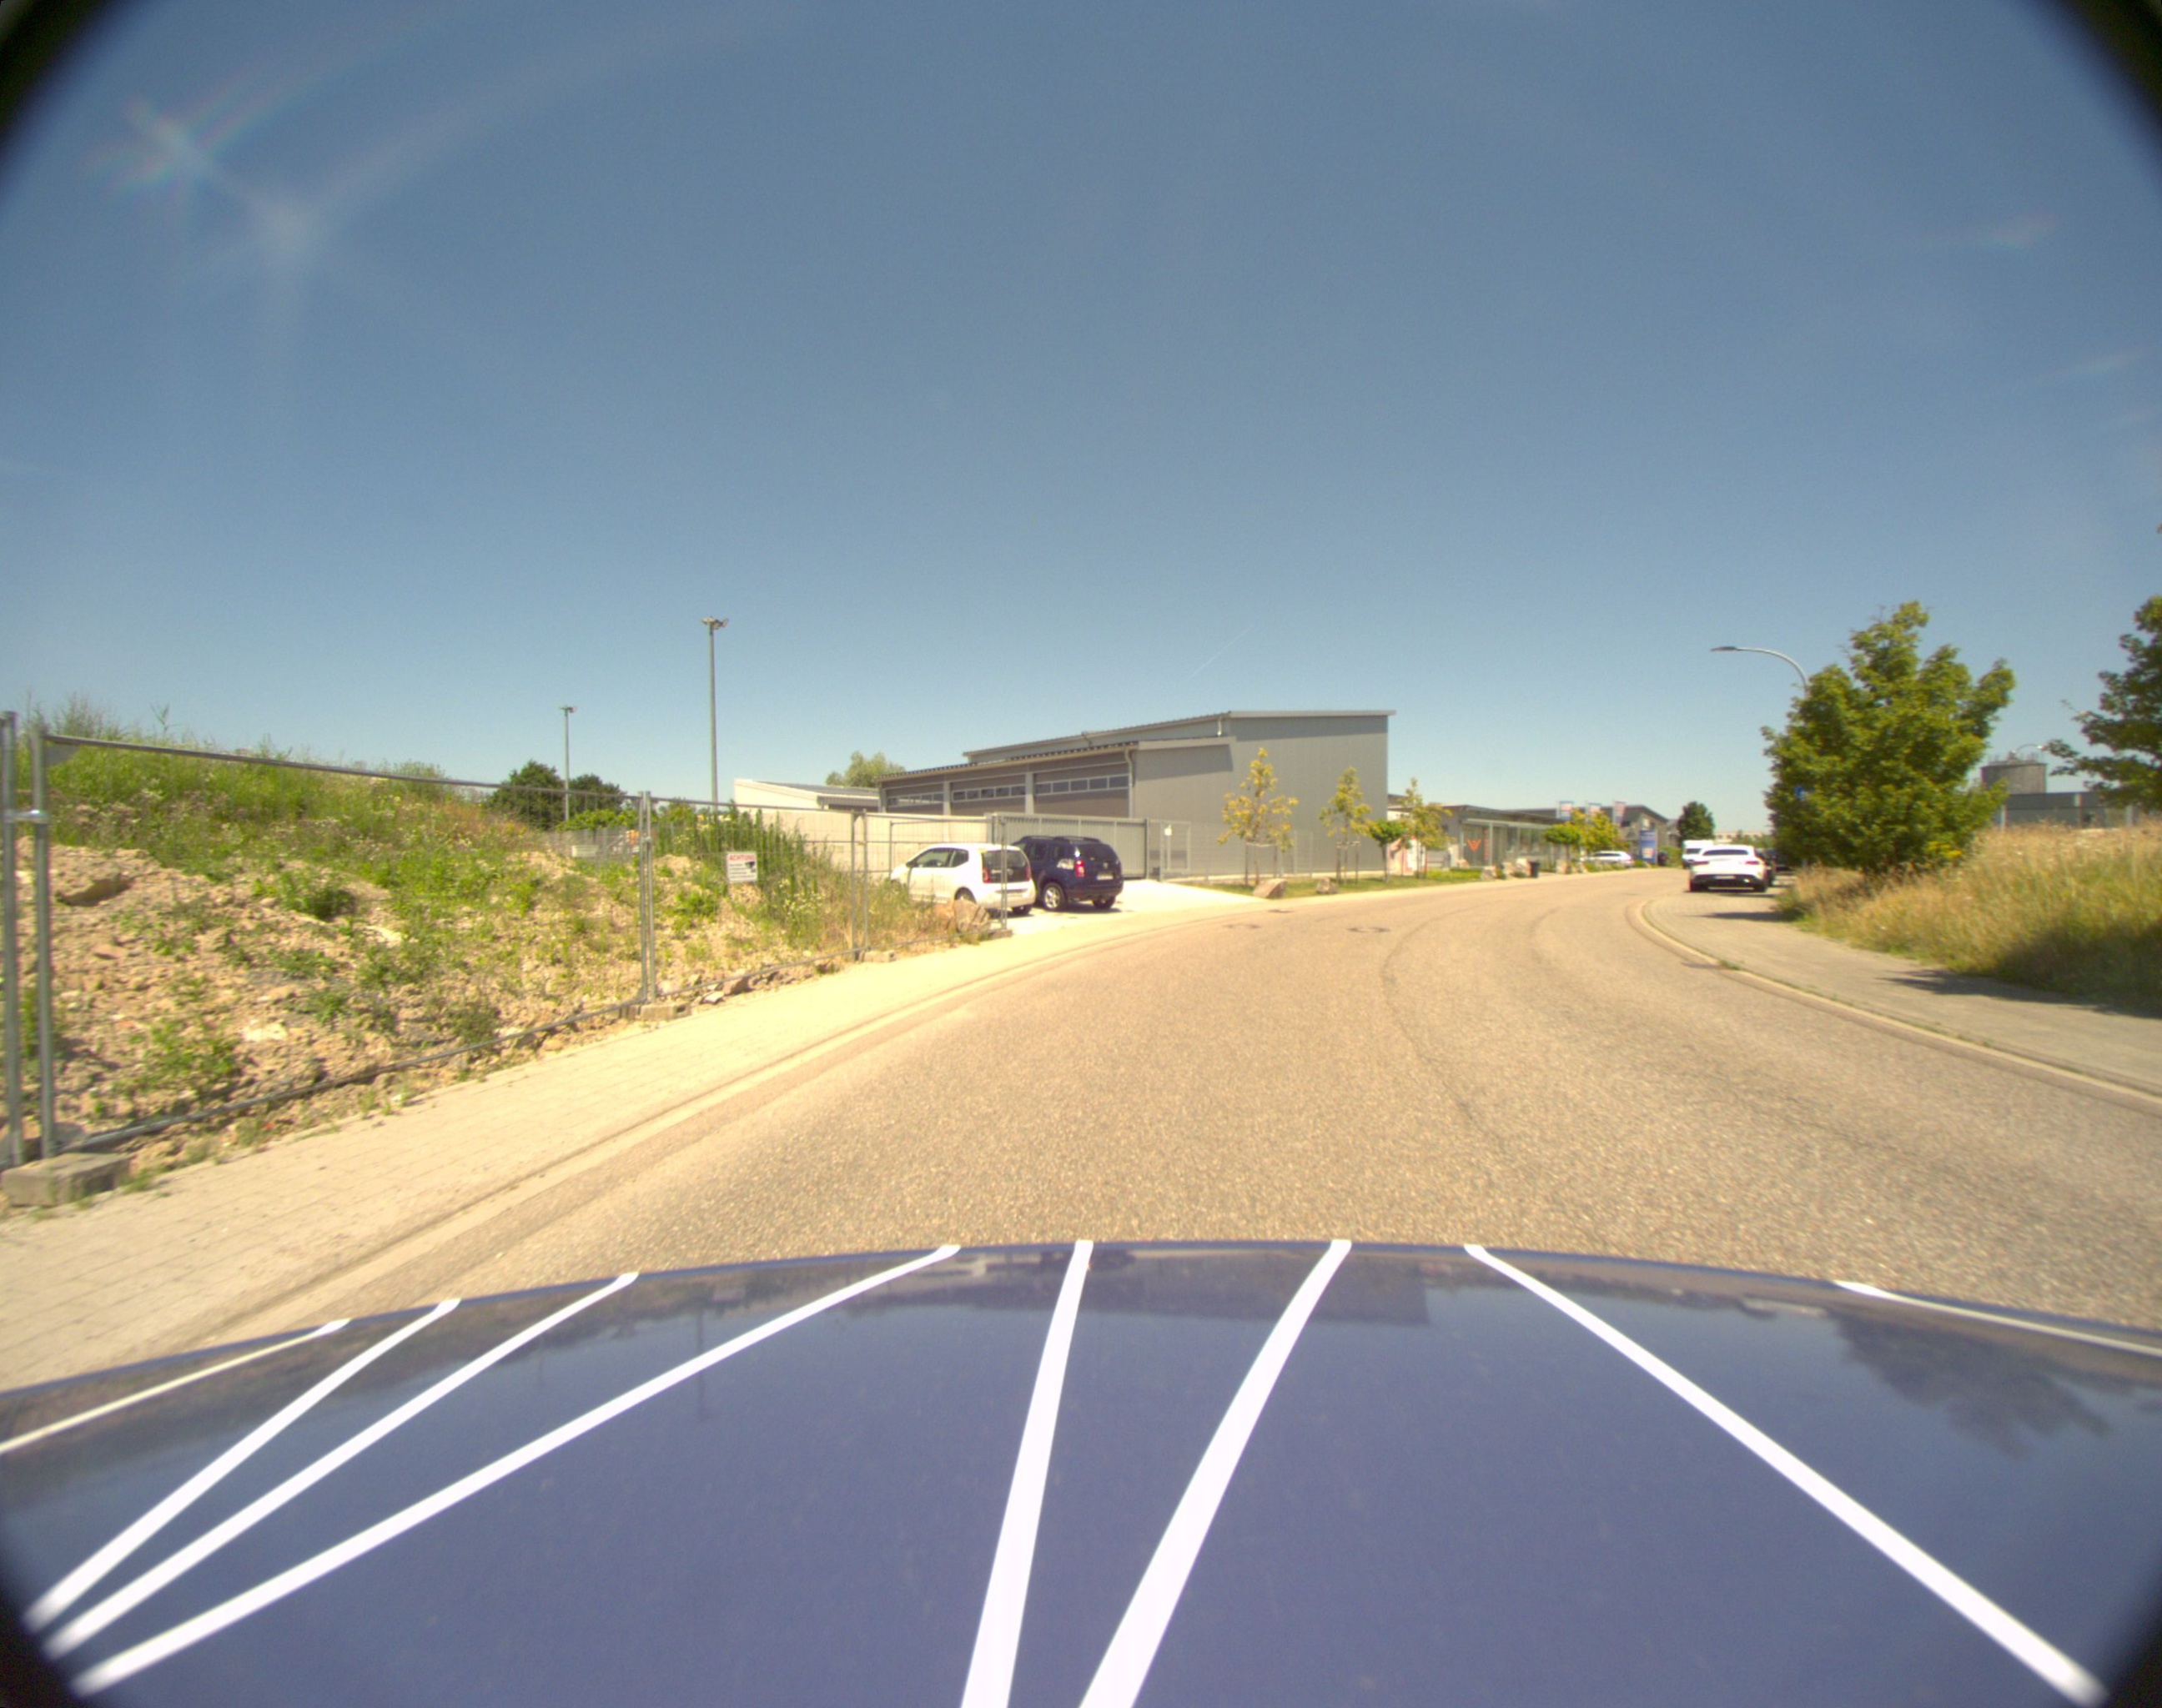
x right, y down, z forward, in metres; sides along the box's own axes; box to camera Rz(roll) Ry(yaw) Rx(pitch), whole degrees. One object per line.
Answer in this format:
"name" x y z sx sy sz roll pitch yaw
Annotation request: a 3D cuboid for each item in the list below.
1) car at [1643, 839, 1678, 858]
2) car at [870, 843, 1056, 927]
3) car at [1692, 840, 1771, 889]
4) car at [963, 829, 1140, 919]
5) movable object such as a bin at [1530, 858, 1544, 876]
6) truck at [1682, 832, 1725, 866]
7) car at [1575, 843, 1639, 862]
"car" 61.983 -0.588 81.219 5.347 2.002 1.994 -1 1 -42
"car" -2.635 0.562 16.413 4.010 1.454 1.897 4 3 44
"car" 24.049 0.319 28.028 1.913 1.646 4.764 0 1 44
"car" -0.789 0.377 17.929 4.009 1.646 1.862 7 5 44
"movable object such as a bin" 24.936 0.716 41.554 0.558 0.941 0.540 2 2 43
"truck" 61.145 -0.465 74.576 6.896 3.187 2.458 -1 1 -44
"car" 45.097 -0.169 65.219 4.280 1.532 1.917 2 1 42
